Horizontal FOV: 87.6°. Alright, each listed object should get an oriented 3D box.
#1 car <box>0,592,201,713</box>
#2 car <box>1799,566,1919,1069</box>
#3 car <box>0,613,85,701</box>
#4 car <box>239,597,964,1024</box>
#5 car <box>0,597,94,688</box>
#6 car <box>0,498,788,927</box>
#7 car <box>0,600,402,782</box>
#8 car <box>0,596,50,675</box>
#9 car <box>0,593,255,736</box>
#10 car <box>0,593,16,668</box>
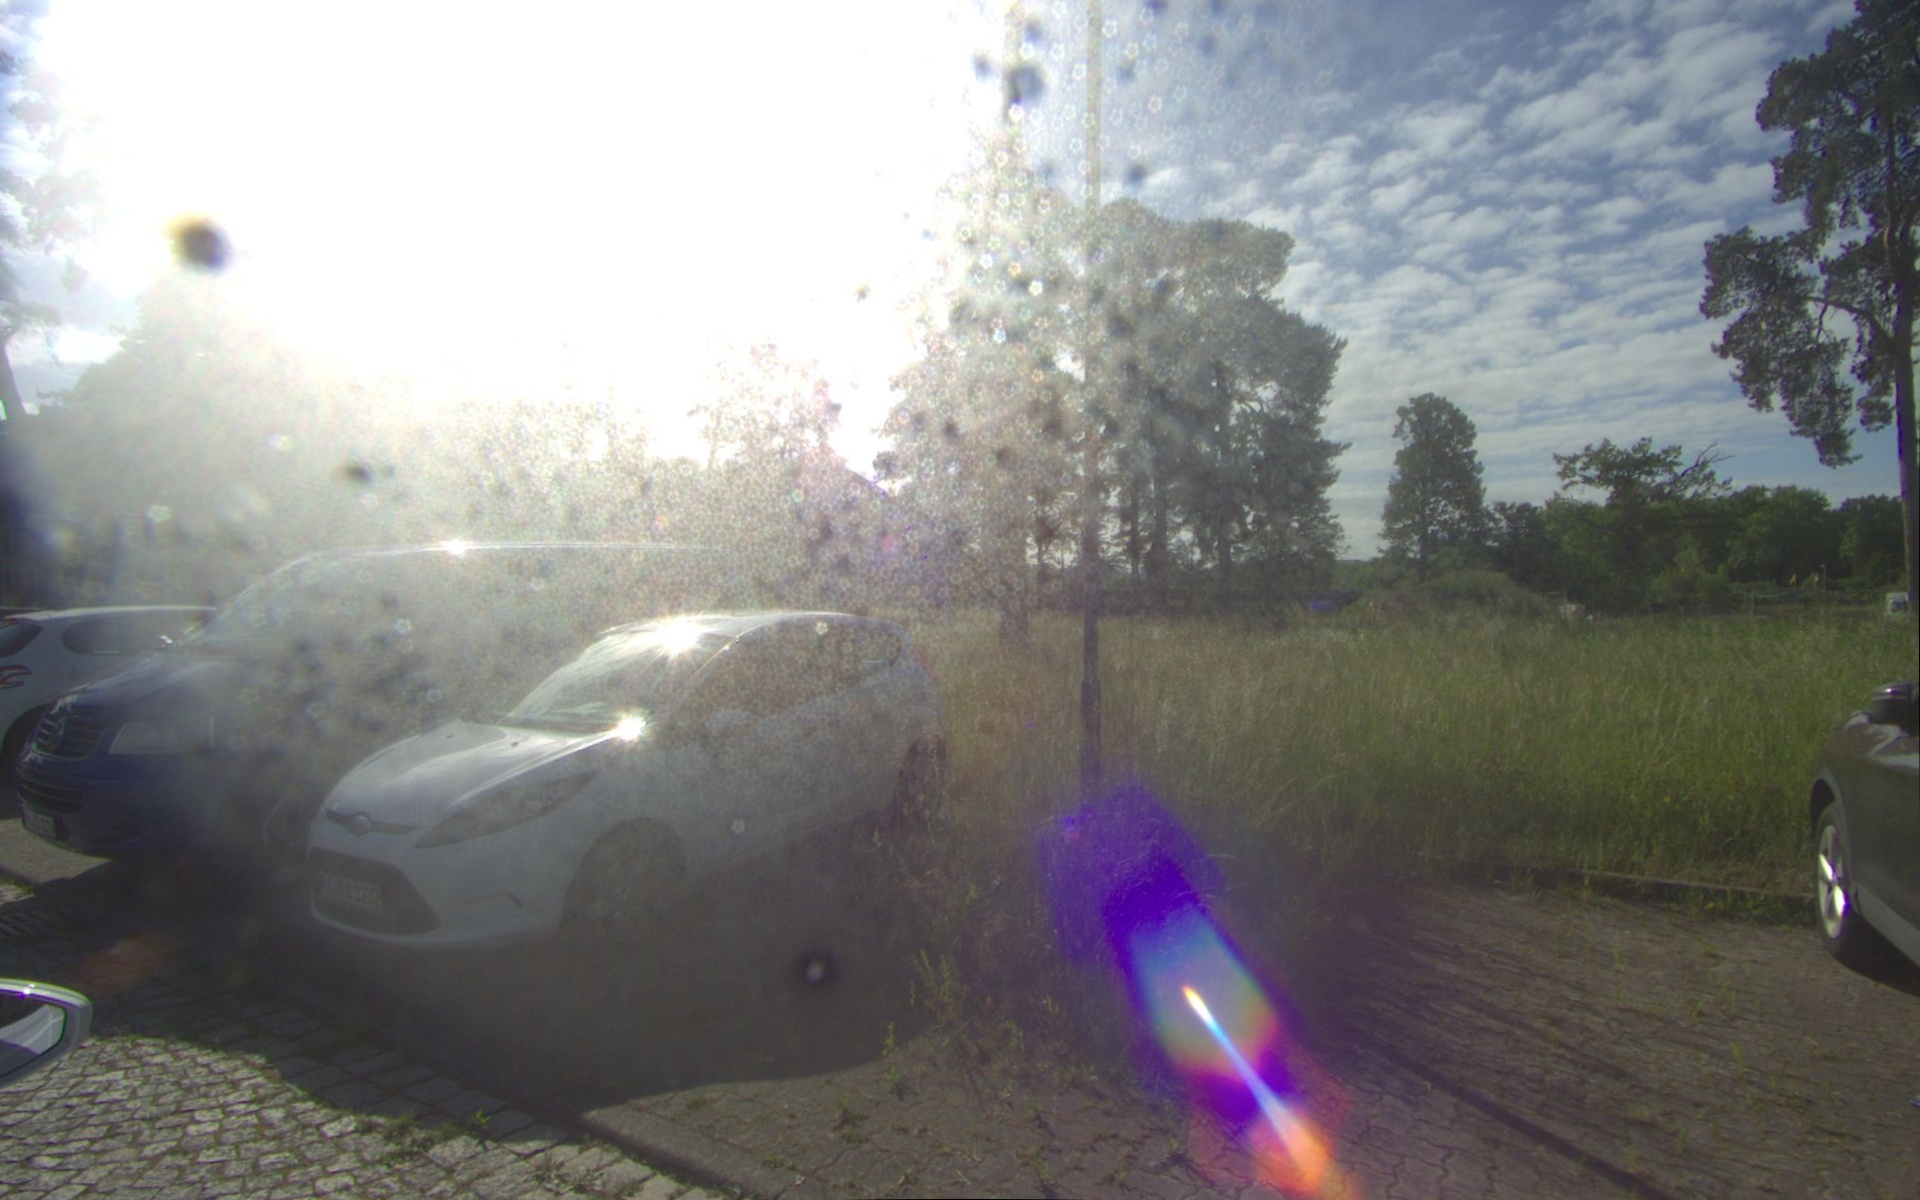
[{"bbox_3d":[-12.677,0.677,13.391,1.643,1.475,3.654,0,2,32],"label":"car"},{"bbox_3d":[3.766,0.710,2.604,1.760,1.632,4.100,1,1,31],"label":"car"},{"bbox_3d":[-15.045,0.840,14.391,1.515,1.259,3.453,0,0,33],"label":"car"},{"bbox_3d":[-1.585,0.770,5.669,1.586,1.487,3.713,1,2,30],"label":"car"},{"bbox_3d":[-16.756,0.712,16.090,1.631,1.468,3.971,0,1,32],"label":"car"},{"bbox_3d":[-3.622,0.460,7.285,1.971,2.041,4.741,1,2,33],"label":"car"},{"bbox_3d":[-7.925,0.765,10.159,1.611,1.512,3.636,0,1,33],"label":"car"},{"bbox_3d":[-18.759,0.672,17.131,1.762,1.407,4.390,0,2,31],"label":"car"},{"bbox_3d":[-10.565,0.686,11.390,1.733,1.470,3.770,0,2,34],"label":"car"},{"bbox_3d":[-21.022,0.689,18.675,1.842,1.476,4.610,0,2,30],"label":"car"}]
